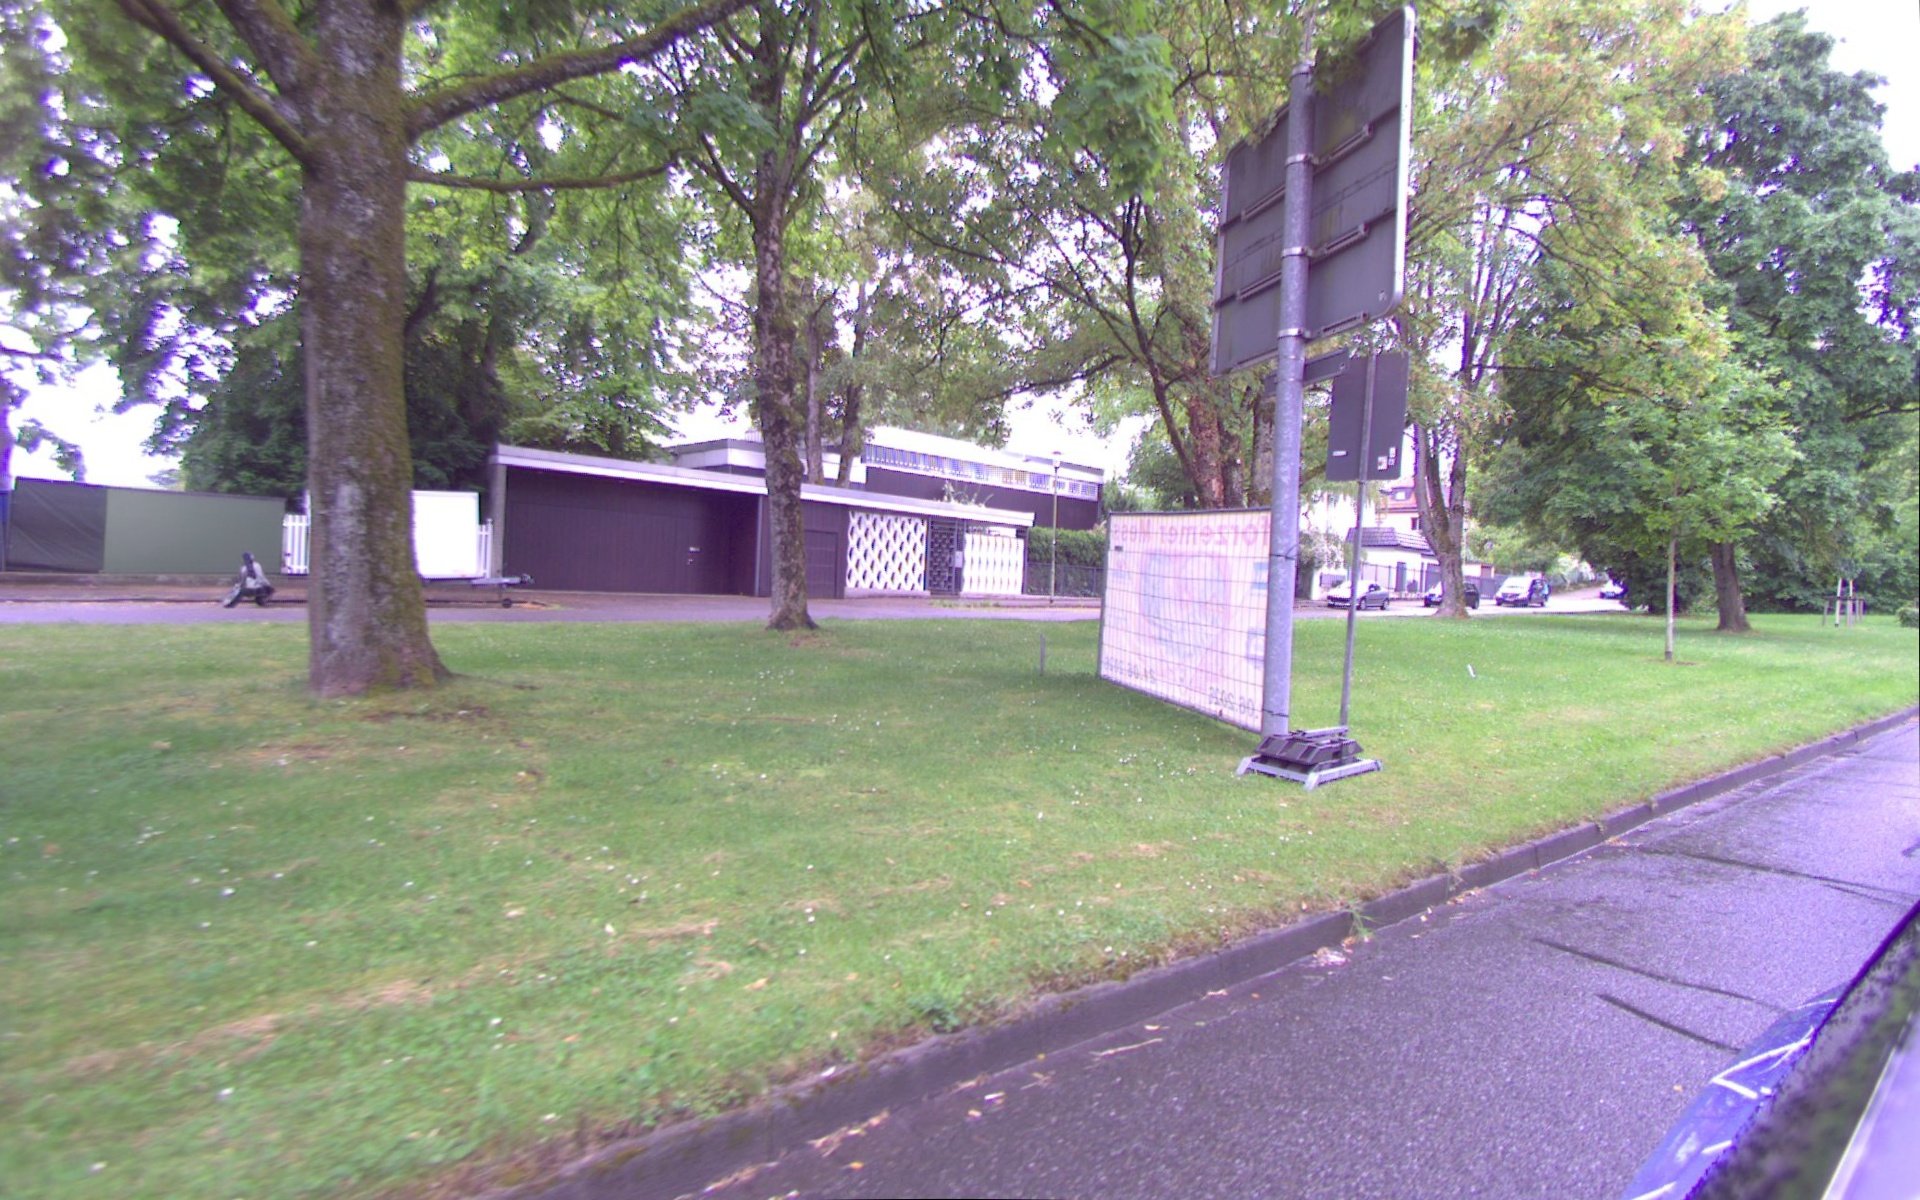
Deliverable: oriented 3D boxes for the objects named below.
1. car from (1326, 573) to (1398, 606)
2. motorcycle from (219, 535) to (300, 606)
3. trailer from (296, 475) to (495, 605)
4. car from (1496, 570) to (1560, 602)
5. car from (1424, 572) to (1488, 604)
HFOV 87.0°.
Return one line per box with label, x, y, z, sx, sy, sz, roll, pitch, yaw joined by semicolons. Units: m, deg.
car;18.840;-0.497;47.345;3.648;1.392;1.684;-1;5;-43
motorcycle;-11.812;-0.494;17.132;0.645;1.106;1.896;2;1;-20
trailer;-10.326;-1.050;18.602;1.437;2.181;2.903;4;3;44
car;36.177;-0.903;64.382;4.986;1.901;2.162;-2;4;-44
car;27.349;-0.670;55.787;3.968;1.644;1.904;-2;4;-44
